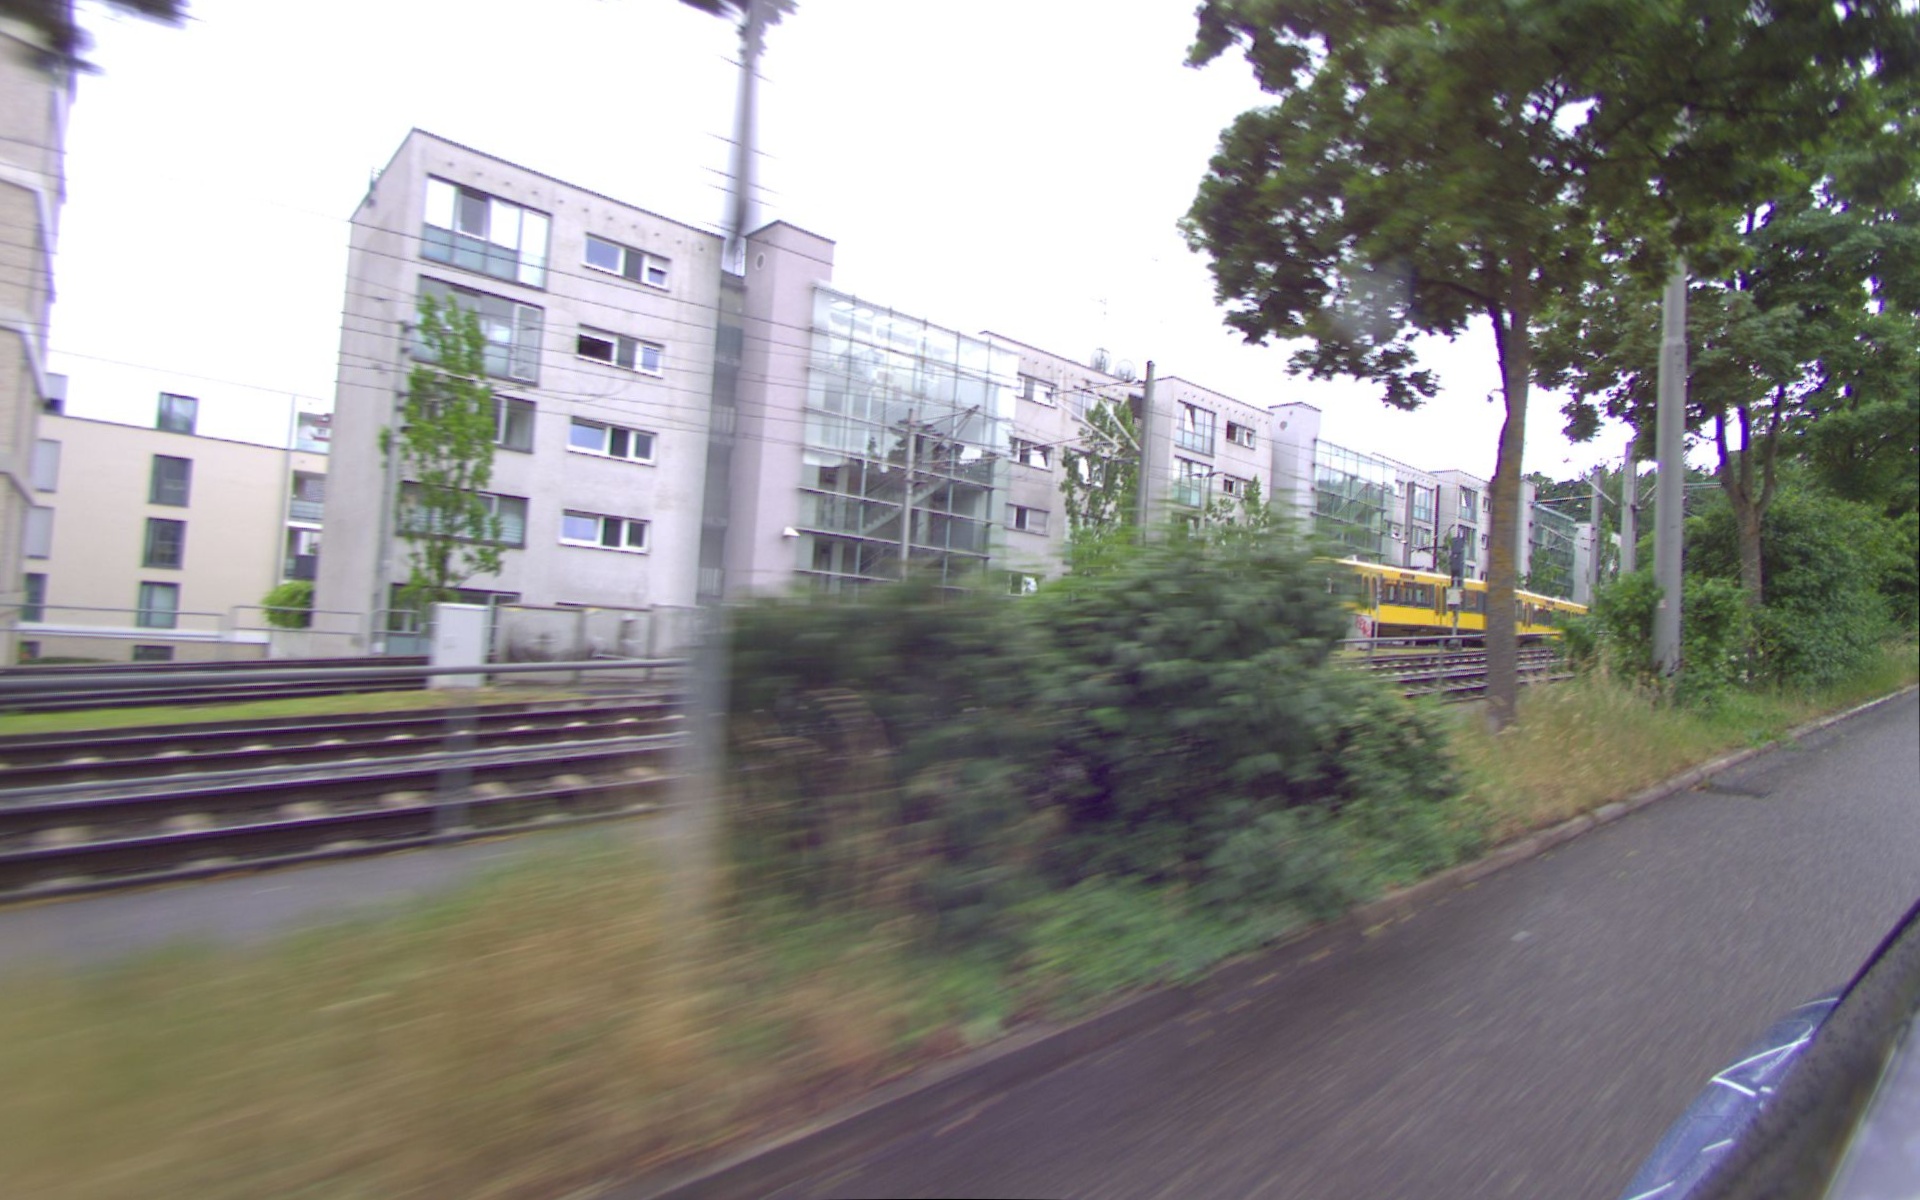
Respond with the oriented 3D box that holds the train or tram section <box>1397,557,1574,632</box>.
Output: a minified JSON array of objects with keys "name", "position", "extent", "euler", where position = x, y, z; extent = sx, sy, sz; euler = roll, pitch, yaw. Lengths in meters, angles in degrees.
[{"name":"train or tram section","position":[28.224,-0.197,53.740],"extent":[14.594,3.543,3.112],"euler":[1,0,-41]}]

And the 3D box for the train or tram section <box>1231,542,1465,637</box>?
[{"name":"train or tram section","position":[17.412,-0.337,44.392],"extent":[14.246,3.606,3.202],"euler":[1,0,-41]}]
